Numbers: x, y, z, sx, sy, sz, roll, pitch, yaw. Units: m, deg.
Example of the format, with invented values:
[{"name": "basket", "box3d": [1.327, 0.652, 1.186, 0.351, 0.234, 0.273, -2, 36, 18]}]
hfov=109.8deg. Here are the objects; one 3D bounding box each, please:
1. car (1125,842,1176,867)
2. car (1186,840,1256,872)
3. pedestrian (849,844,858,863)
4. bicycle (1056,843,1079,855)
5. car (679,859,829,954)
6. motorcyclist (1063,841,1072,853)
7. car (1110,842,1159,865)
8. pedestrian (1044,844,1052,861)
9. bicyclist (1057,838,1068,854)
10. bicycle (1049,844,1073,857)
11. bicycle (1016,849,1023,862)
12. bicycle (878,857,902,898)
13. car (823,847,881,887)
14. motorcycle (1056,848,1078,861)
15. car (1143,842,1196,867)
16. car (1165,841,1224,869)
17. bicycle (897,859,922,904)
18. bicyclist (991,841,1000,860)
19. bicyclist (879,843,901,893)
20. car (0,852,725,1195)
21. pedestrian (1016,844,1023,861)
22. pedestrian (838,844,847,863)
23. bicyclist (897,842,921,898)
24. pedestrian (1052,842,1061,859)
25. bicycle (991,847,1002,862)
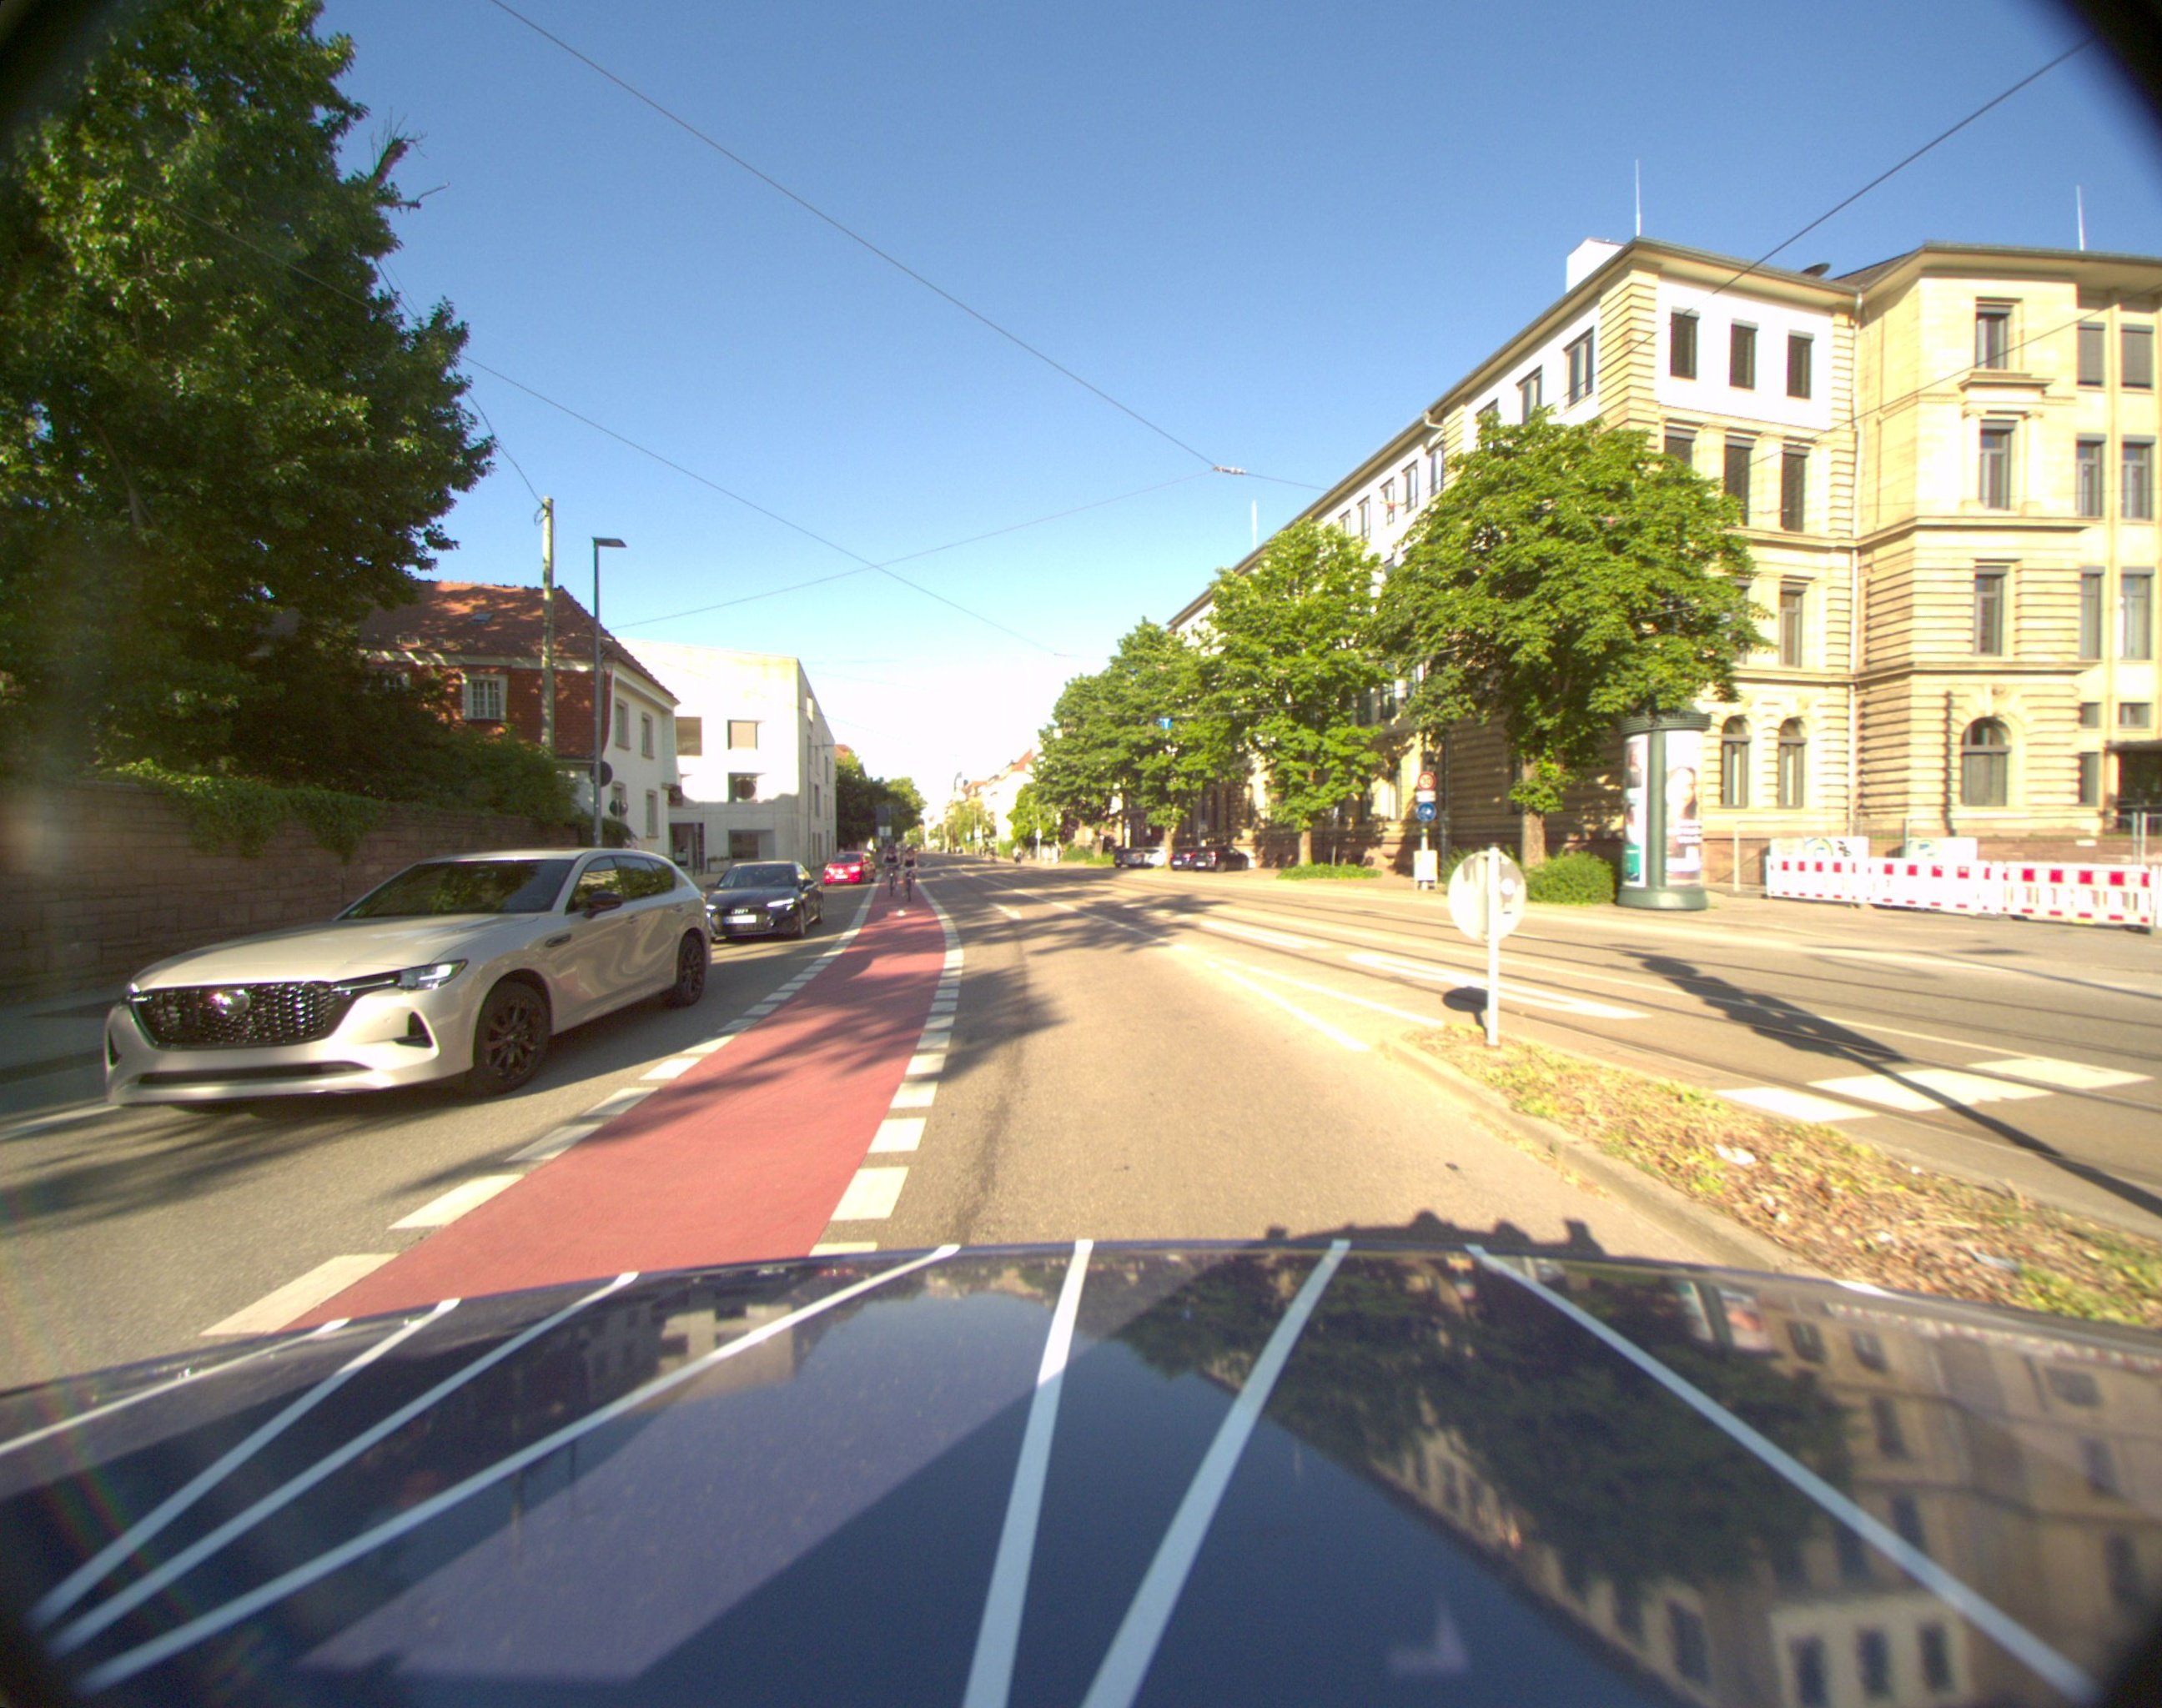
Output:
[{"name": "car", "box3d": [4.935, 0.018, 53.747, 1.645, 1.552, 3.657, -1, 2, 44]}, {"name": "car", "box3d": [8.030, 0.081, 43.310, 1.841, 1.621, 4.189, -1, 2, 44]}, {"name": "pedestrian", "box3d": [-19.910, -0.051, 66.560, 0.676, 1.638, 0.816, -1, 1, -12]}, {"name": "bicycle", "box3d": [-1.446, -0.513, 81.131, 2.458, 1.243, 0.675, -1, 1, -14]}, {"name": "car", "box3d": [-6.119, 0.889, 14.719, 1.790, 1.425, 3.995, -3, 1, -11]}, {"name": "motorcyclist", "box3d": [-1.432, -0.719, 81.128, 0.854, 1.243, 0.675, -1, 1, -13]}, {"name": "car", "box3d": [4.059, -0.025, 57.111, 1.645, 1.552, 3.657, -1, 2, 44]}, {"name": "pedestrian", "box3d": [-3.222, -0.182, 74.348, 0.676, 1.638, 0.816, -1, 1, -12]}, {"name": "bicyclist", "box3d": [-1.927, -0.814, 79.369, 1.029, 1.638, 0.675, -1, 1, -13]}, {"name": "bicycle", "box3d": [-2.072, -0.376, 79.327, 2.458, 1.243, 0.675, -1, 1, -13]}, {"name": "bicycle", "box3d": [-6.158, 0.127, 76.151, 0.676, 1.243, 2.455, -1, 1, -4]}, {"name": "bicycle", "box3d": [-6.390, 0.758, 25.473, 0.676, 1.243, 2.454, -1, 1, -12]}, {"name": "car", "box3d": [-10.125, 0.533, 33.856, 1.649, 1.552, 3.648, -2, 1, -4]}, {"name": "motorcycle", "box3d": [-1.448, 0.069, 81.178, 2.263, 1.285, 0.681, -2, 2, 4]}, {"name": "car", "box3d": [6.044, 0.025, 51.579, 1.645, 1.552, 3.657, -1, 2, 44]}, {"name": "car", "box3d": [6.910, 0.055, 45.907, 1.645, 1.552, 3.657, -1, 2, 44]}, {"name": "bicycle", "box3d": [-5.173, 0.804, 22.993, 0.676, 1.243, 2.454, -1, 1, -12]}, {"name": "bicyclist", "box3d": [-7.223, -0.315, 64.404, 0.676, 1.638, 1.028, -1, 1, -12]}, {"name": "bicyclist", "box3d": [-6.405, 0.437, 25.498, 0.676, 1.638, 1.028, -1, 1, -12]}, {"name": "car", "box3d": [-4.892, 0.889, 6.331, 1.946, 1.683, 4.528, -2, 1, -5]}, {"name": "pedestrian", "box3d": [-6.161, -0.159, 76.162, 0.675, 1.638, 0.817, -1, 1, -3]}, {"name": "pedestrian", "box3d": [-20.819, -0.010, 66.387, 0.676, 1.638, 0.816, -1, 1, -12]}, {"name": "bicyclist", "box3d": [-5.183, 0.461, 22.989, 0.676, 1.638, 1.028, -1, 1, -12]}, {"name": "pedestrian", "box3d": [-2.410, -0.369, 74.605, 0.676, 1.638, 0.816, -1, 1, -12]}, {"name": "bicycle", "box3d": [-7.198, 0.056, 64.343, 0.676, 1.243, 2.454, -1, 1, -12]}]
